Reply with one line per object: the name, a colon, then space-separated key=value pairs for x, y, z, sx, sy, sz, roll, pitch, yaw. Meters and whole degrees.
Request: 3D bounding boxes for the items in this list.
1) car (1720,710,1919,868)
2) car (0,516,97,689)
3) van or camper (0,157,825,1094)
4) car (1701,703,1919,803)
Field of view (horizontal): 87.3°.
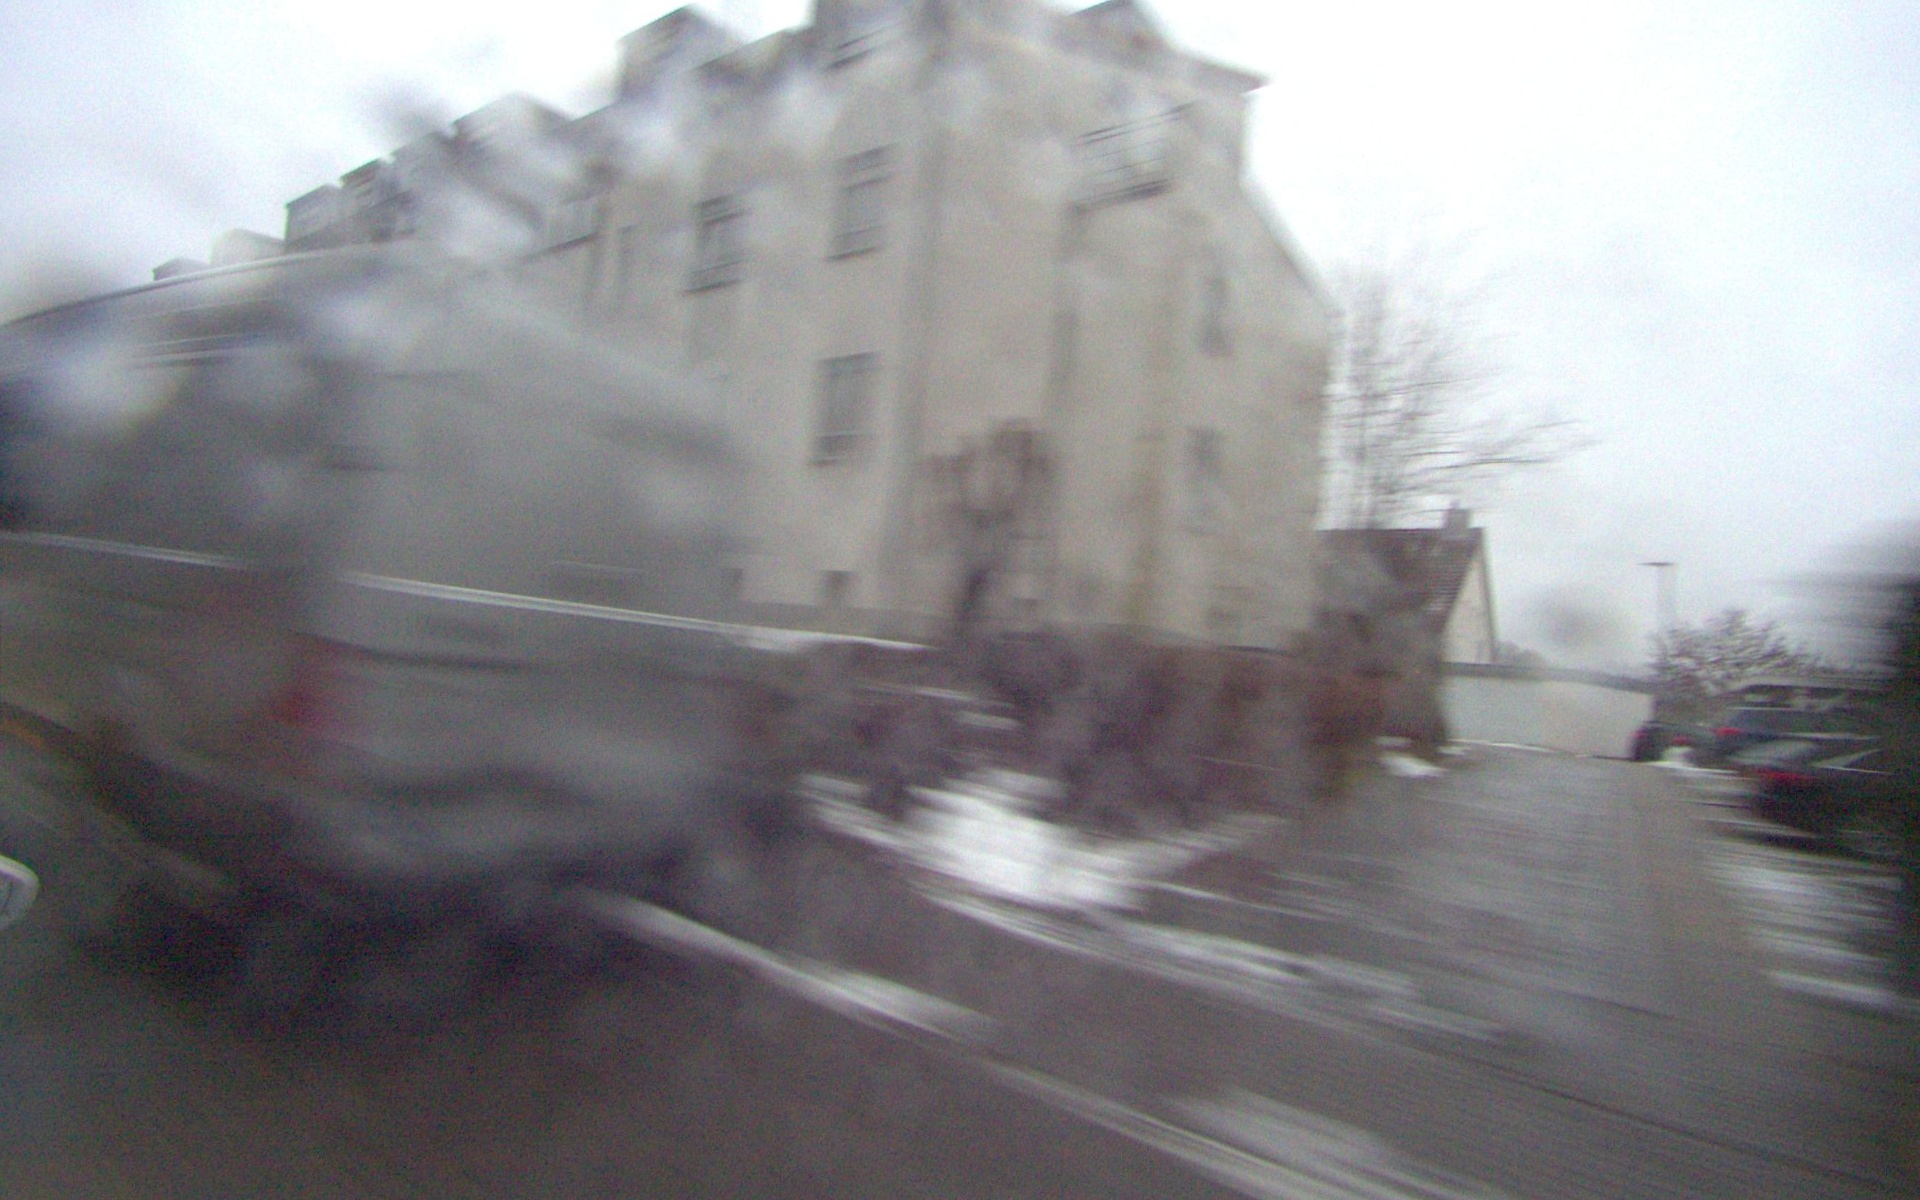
car: x=11.311 y=2.313 z=11.654 sx=3.689 sy=1.504 sz=1.851 roll=7 pitch=-2 yaw=32
car: x=-9.771 y=-0.182 z=9.264 sx=4.057 sy=1.406 sz=1.658 roll=6 pitch=-2 yaw=34
van or camper: x=-4.059 y=-0.152 z=5.393 sx=6.683 sy=2.537 sz=2.017 roll=7 pitch=-1 yaw=33
car: x=18.938 y=3.347 z=22.330 sx=3.689 sy=1.547 sz=1.851 roll=7 pitch=-2 yaw=32
